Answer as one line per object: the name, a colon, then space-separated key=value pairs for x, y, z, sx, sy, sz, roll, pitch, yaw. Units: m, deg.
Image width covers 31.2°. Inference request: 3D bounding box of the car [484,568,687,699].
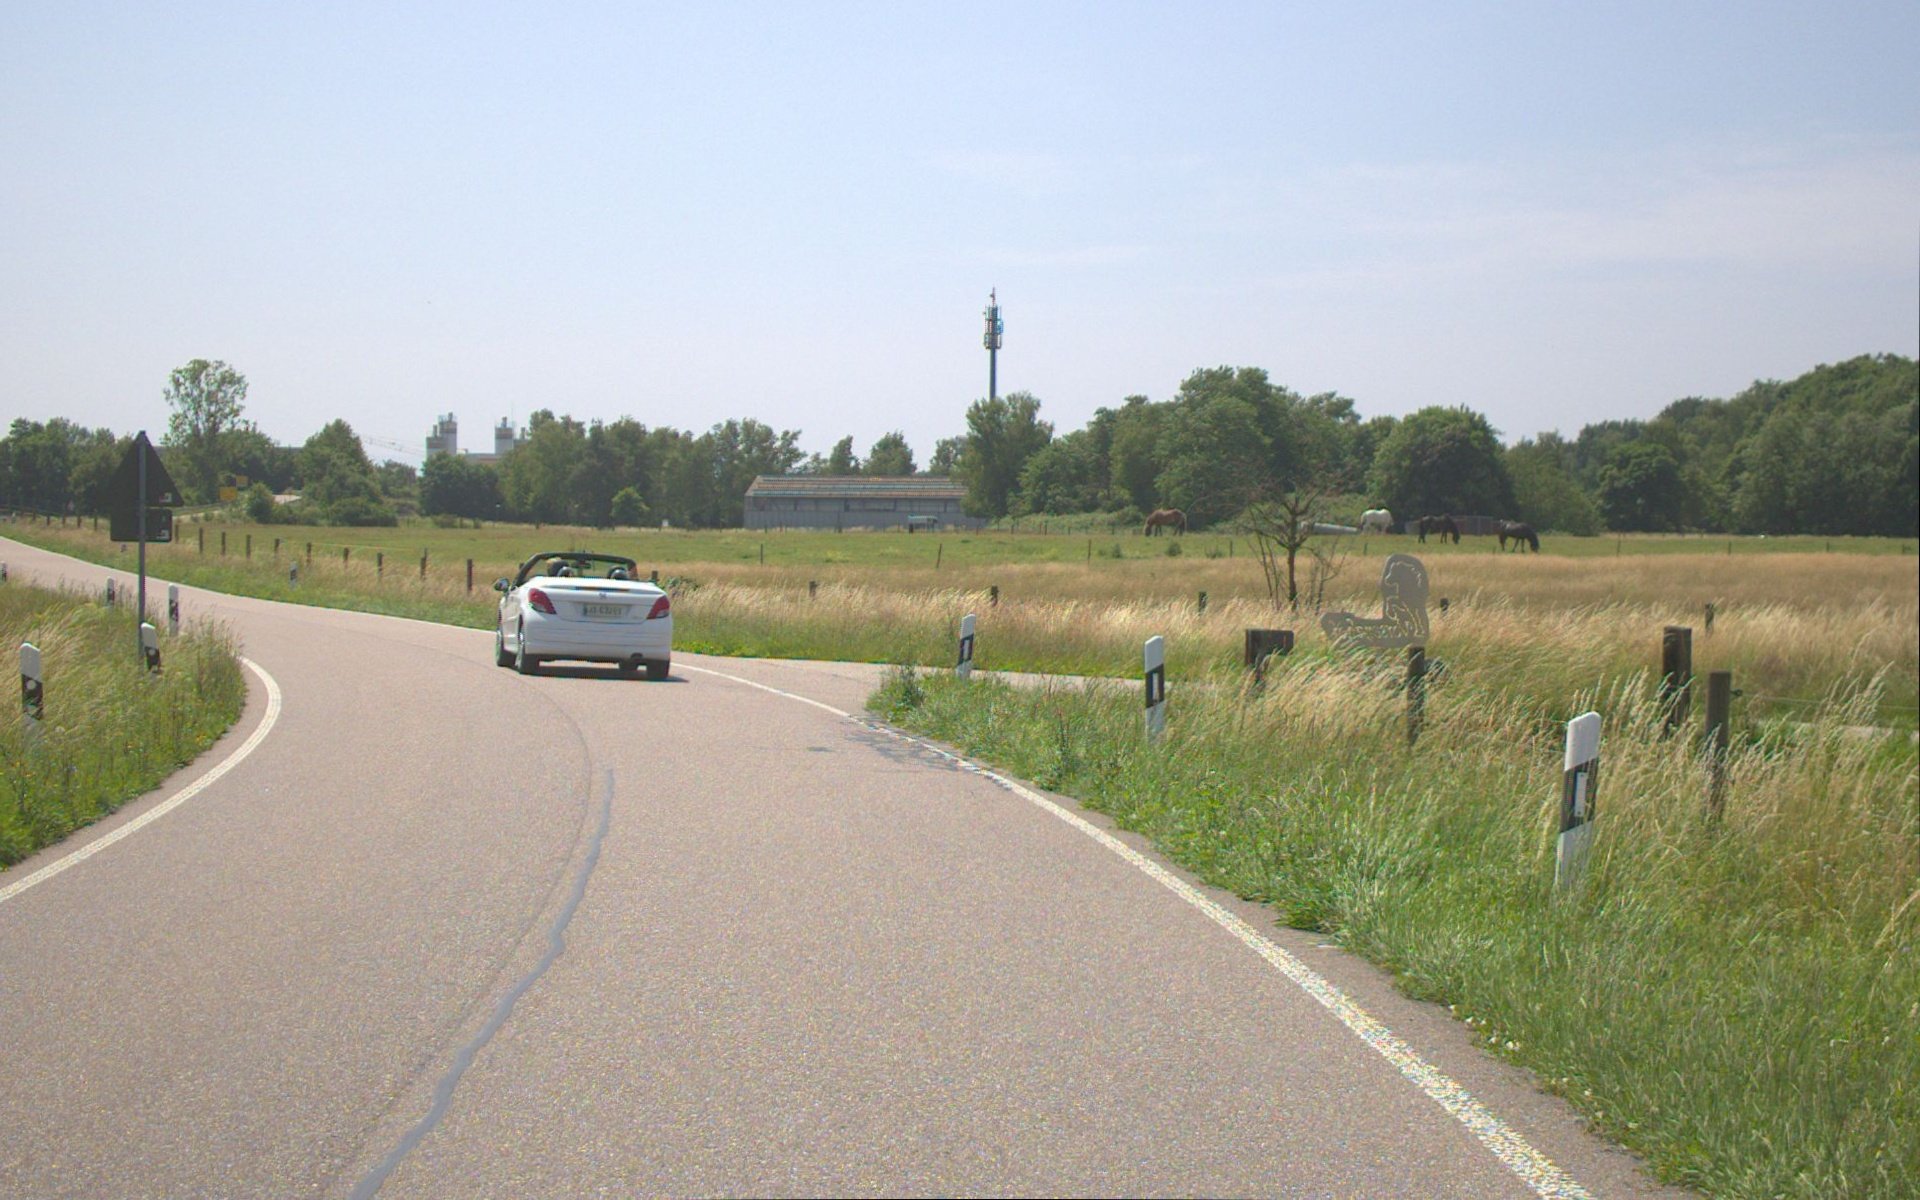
car: x=-4.395 y=0.377 z=39.879 sx=1.850 sy=1.375 sz=4.001 roll=2 pitch=-1 yaw=-13
